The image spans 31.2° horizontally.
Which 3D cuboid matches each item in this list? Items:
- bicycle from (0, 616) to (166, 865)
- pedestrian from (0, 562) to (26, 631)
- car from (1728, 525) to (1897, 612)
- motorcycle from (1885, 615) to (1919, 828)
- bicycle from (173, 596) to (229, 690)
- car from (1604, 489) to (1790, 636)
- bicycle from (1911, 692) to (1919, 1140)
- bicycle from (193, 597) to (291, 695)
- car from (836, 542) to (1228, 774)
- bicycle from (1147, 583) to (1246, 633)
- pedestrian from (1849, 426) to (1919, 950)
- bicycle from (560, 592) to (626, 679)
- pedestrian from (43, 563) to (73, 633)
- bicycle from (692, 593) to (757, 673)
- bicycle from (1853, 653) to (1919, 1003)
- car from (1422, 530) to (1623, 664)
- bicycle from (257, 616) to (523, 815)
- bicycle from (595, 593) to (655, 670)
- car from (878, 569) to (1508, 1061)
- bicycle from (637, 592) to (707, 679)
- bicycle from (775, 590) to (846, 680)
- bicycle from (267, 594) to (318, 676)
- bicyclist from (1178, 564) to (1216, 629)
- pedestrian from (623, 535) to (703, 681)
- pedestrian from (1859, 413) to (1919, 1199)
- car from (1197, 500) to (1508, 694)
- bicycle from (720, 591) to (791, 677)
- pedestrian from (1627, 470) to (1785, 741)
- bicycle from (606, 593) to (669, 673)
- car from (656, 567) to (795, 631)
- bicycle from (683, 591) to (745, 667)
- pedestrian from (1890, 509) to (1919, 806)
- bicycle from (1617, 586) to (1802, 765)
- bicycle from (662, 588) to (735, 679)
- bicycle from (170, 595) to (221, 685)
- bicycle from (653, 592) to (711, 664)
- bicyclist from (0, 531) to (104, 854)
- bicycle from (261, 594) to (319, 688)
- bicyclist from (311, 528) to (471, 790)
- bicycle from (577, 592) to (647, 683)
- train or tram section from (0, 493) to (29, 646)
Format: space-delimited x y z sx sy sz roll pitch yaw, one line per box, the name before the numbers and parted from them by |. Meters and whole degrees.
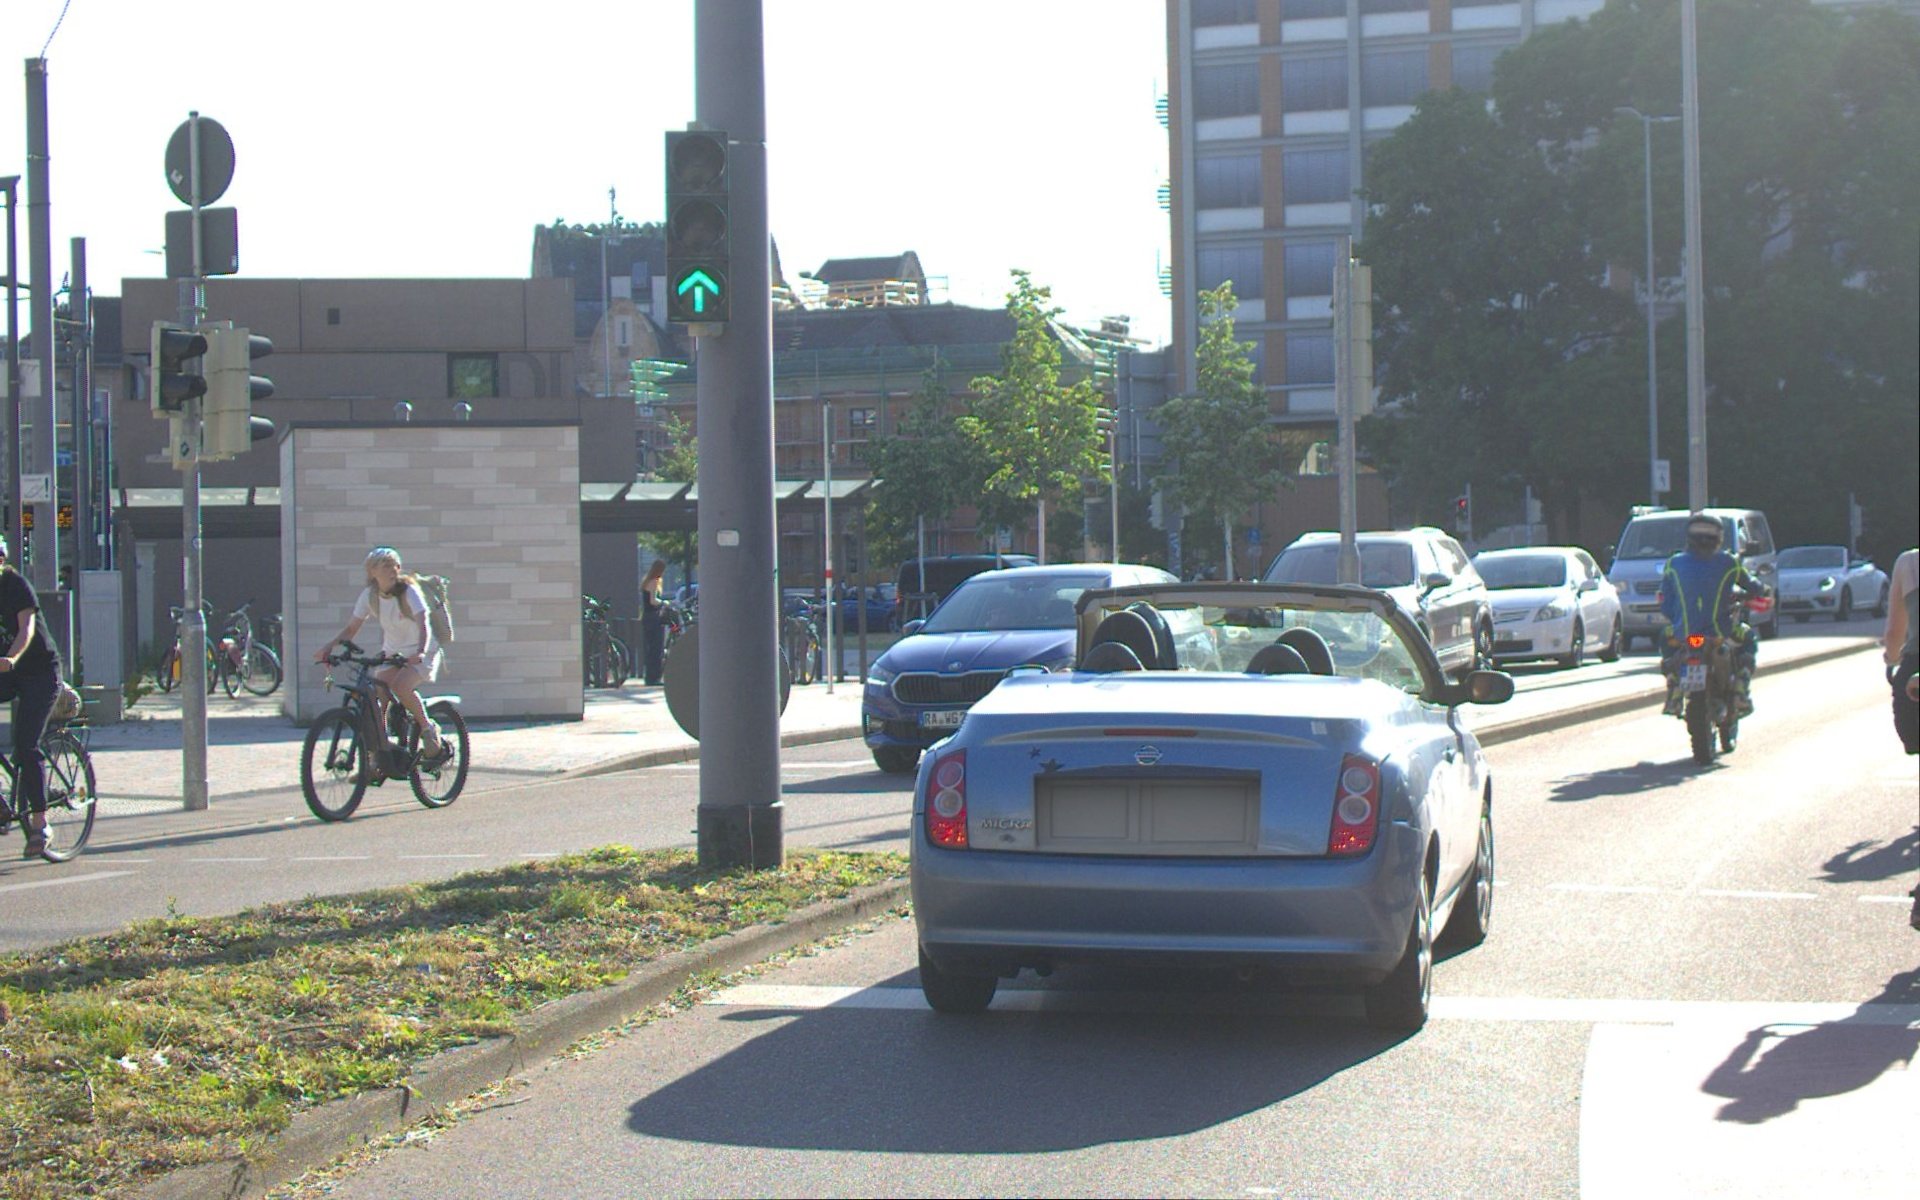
bicycle | -5.155 0.747 17.937 0.675 1.246 2.454 -3 0 20
pedestrian | -24.187 -0.098 87.621 0.604 1.743 0.832 -1 0 -9
car | 16.090 -0.608 64.756 1.802 1.525 3.993 -2 0 34
motorcycle | 5.458 0.642 18.981 0.614 1.094 2.358 1 0 16
bicycle | -9.294 0.515 42.067 0.606 1.111 1.897 1 0 -14
car | 10.664 -0.547 49.524 1.910 1.939 4.701 -2 0 20
bicycle | 2.644 0.836 7.976 0.554 1.167 2.371 1 0 9
bicycle | -8.441 0.525 40.480 0.607 1.111 1.896 1 0 4
car | 0.625 0.392 25.648 1.738 1.568 3.920 1 0 20
bicycle | 5.888 0.200 85.658 2.410 1.187 0.609 1 0 29
pedestrian | 3.624 0.313 12.613 0.659 1.862 0.872 1 0 13
bicycle | -4.838 0.454 45.294 0.606 1.111 1.897 1 0 -14
pedestrian | -22.704 -0.043 86.532 0.637 1.743 0.736 -1 0 -20
bicycle | -3.396 0.460 49.396 0.606 1.111 1.897 1 0 -14
bicycle | 3.574 0.786 12.505 0.564 1.147 1.948 1 0 13
car | 6.985 -0.064 42.387 1.696 1.555 3.976 -1 1 20
bicycle | -3.636 0.715 22.148 0.675 1.176 2.181 -1 1 20
bicycle | -4.994 0.459 51.127 0.606 1.111 1.897 1 0 -14
car | 1.009 0.633 12.399 1.661 1.436 4.152 1 0 12
bicycle | -3.804 0.458 45.311 0.606 1.111 1.897 1 0 -14
bicycle | -1.909 0.434 43.721 0.606 1.111 1.897 1 0 -11
bicycle | -9.392 0.488 48.336 0.606 1.111 1.897 1 0 -14
bicyclist | 5.914 -0.084 85.652 0.753 1.593 0.588 1 0 29
pedestrian | -3.833 0.099 44.329 0.900 1.862 0.687 1 0 -14
pedestrian | 2.663 0.500 8.299 0.806 1.862 0.956 1 0 7
car | 3.885 -0.058 33.339 1.763 1.700 4.525 -2 0 22
bicycle | -2.726 0.439 45.722 0.606 1.111 1.897 1 0 -14
pedestrian | 5.246 0.033 24.151 0.834 1.862 0.919 1 0 29
bicycle | -4.622 0.461 49.167 0.606 1.111 1.897 1 0 -14
car | -5.917 -0.031 86.565 1.640 1.555 3.598 -2 1 -40
bicycle | -3.685 0.423 51.362 0.606 1.111 1.897 1 0 -14
pedestrian | 5.436 0.312 18.883 0.588 1.593 1.024 1 0 16
bicycle | 5.302 0.508 24.218 0.609 1.187 2.411 1 0 29
bicycle | -3.312 0.416 43.389 0.606 1.111 1.897 1 0 -14
bicycle | -9.769 0.498 43.983 0.606 1.111 1.897 1 0 -12
bicycle | -4.444 0.435 54.853 0.606 1.111 1.897 1 0 -14
bicyclist | -5.112 0.486 18.093 0.709 1.652 0.900 -3 0 21
bicycle | -8.276 0.494 42.420 0.606 1.111 1.897 1 0 -14
bicyclist | -3.653 0.372 22.110 0.709 1.651 0.742 -1 0 21
bicycle | -4.383 0.460 43.225 0.606 1.111 1.897 1 0 -14
train or tram section | -24.356 -0.749 82.290 3.039 3.584 12.055 1 0 -11
